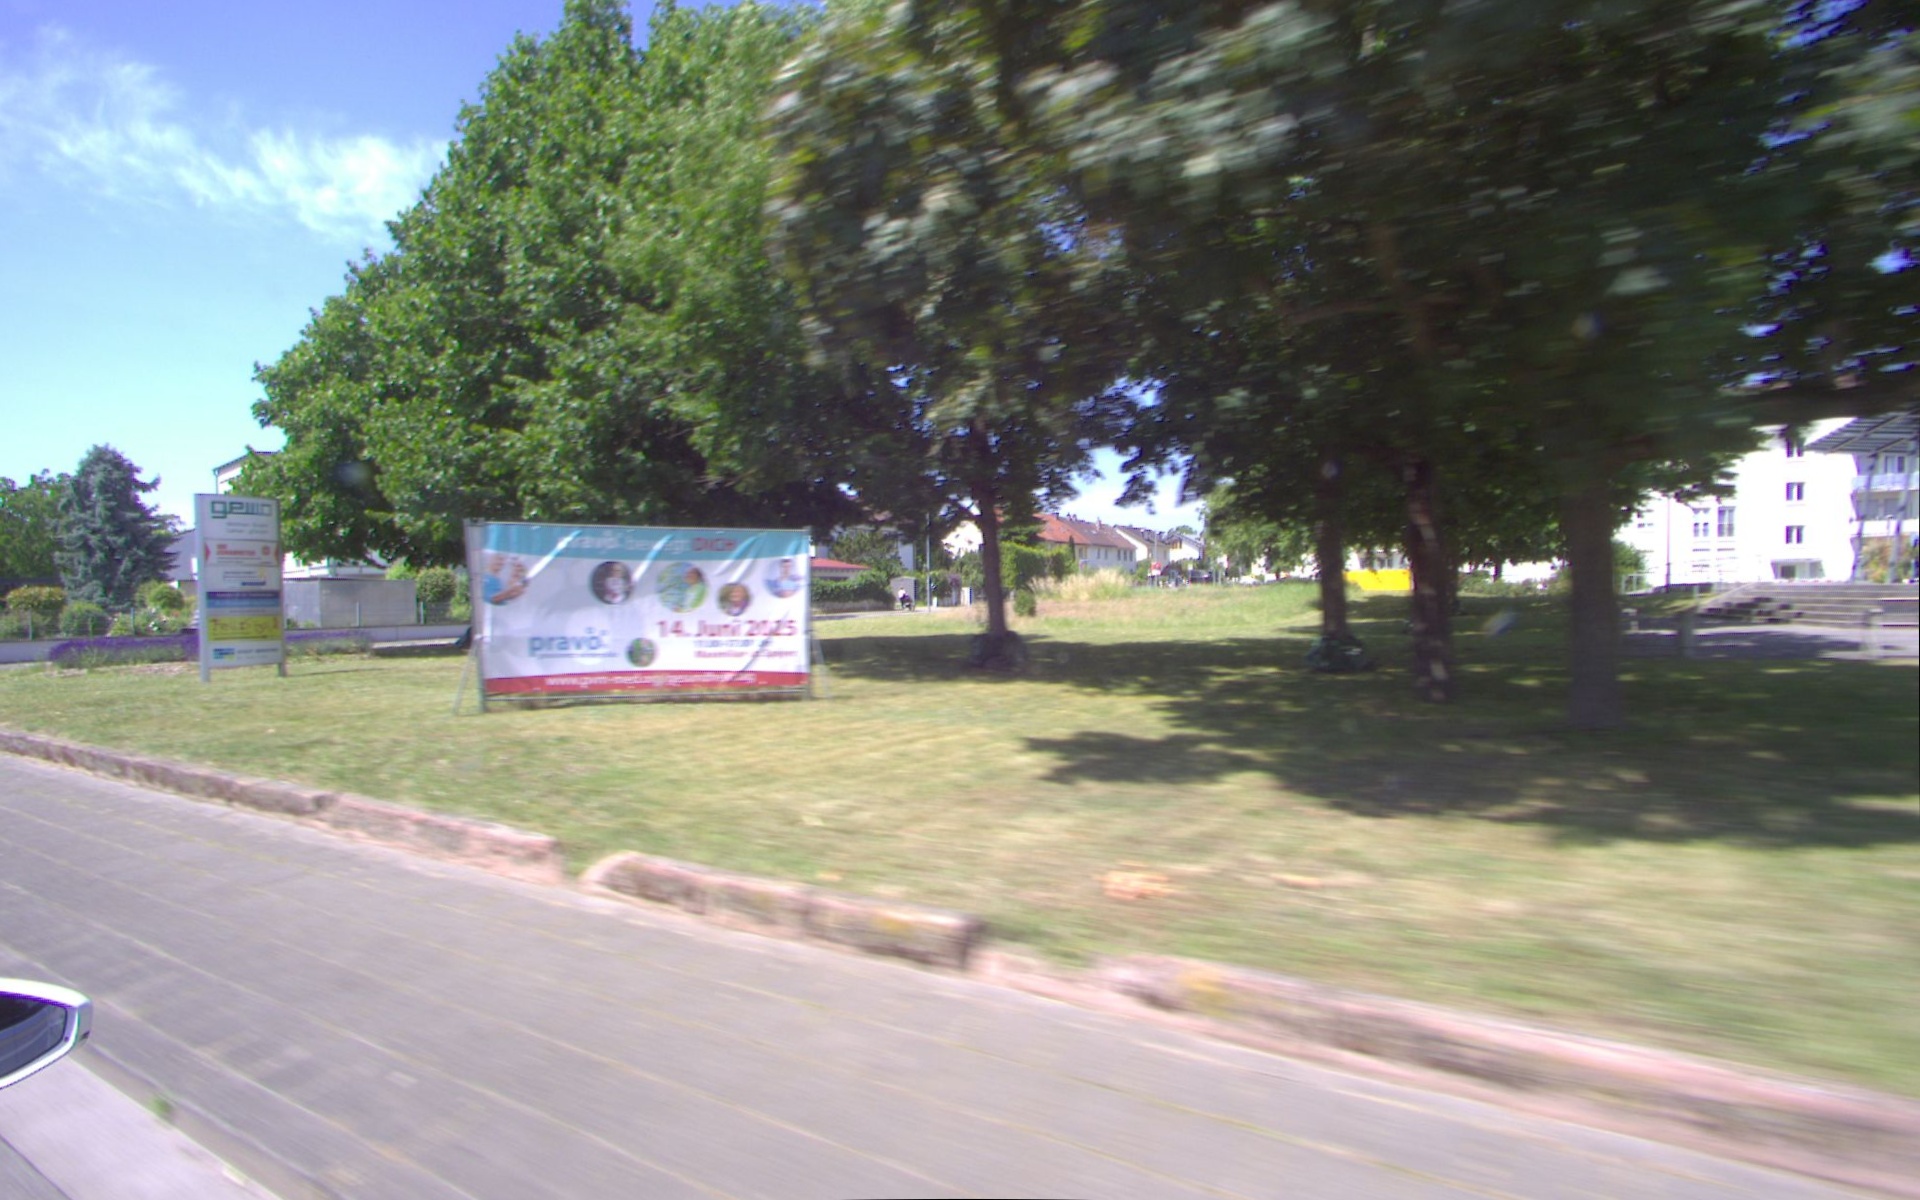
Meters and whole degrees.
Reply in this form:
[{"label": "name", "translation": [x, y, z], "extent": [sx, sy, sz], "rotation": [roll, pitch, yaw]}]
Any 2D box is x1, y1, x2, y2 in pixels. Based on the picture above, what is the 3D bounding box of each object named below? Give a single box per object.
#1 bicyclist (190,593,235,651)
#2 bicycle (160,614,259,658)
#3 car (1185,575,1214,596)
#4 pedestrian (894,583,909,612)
[{"label": "bicyclist", "translation": [-20.644, 0.588, 27.684], "extent": [0.916, 1.551, 0.850], "rotation": [-2, 2, -35]}, {"label": "bicycle", "translation": [-20.700, 0.980, 27.673], "extent": [2.119, 1.118, 0.810], "rotation": [-2, 1, -37]}, {"label": "car", "translation": [23.682, -1.454, 99.097], "extent": [1.504, 1.952, 3.155], "rotation": [0, 1, 41]}, {"label": "pedestrian", "translation": [-3.969, -0.163, 67.948], "extent": [0.772, 1.876, 0.629], "rotation": [-1, -1, 26]}]
